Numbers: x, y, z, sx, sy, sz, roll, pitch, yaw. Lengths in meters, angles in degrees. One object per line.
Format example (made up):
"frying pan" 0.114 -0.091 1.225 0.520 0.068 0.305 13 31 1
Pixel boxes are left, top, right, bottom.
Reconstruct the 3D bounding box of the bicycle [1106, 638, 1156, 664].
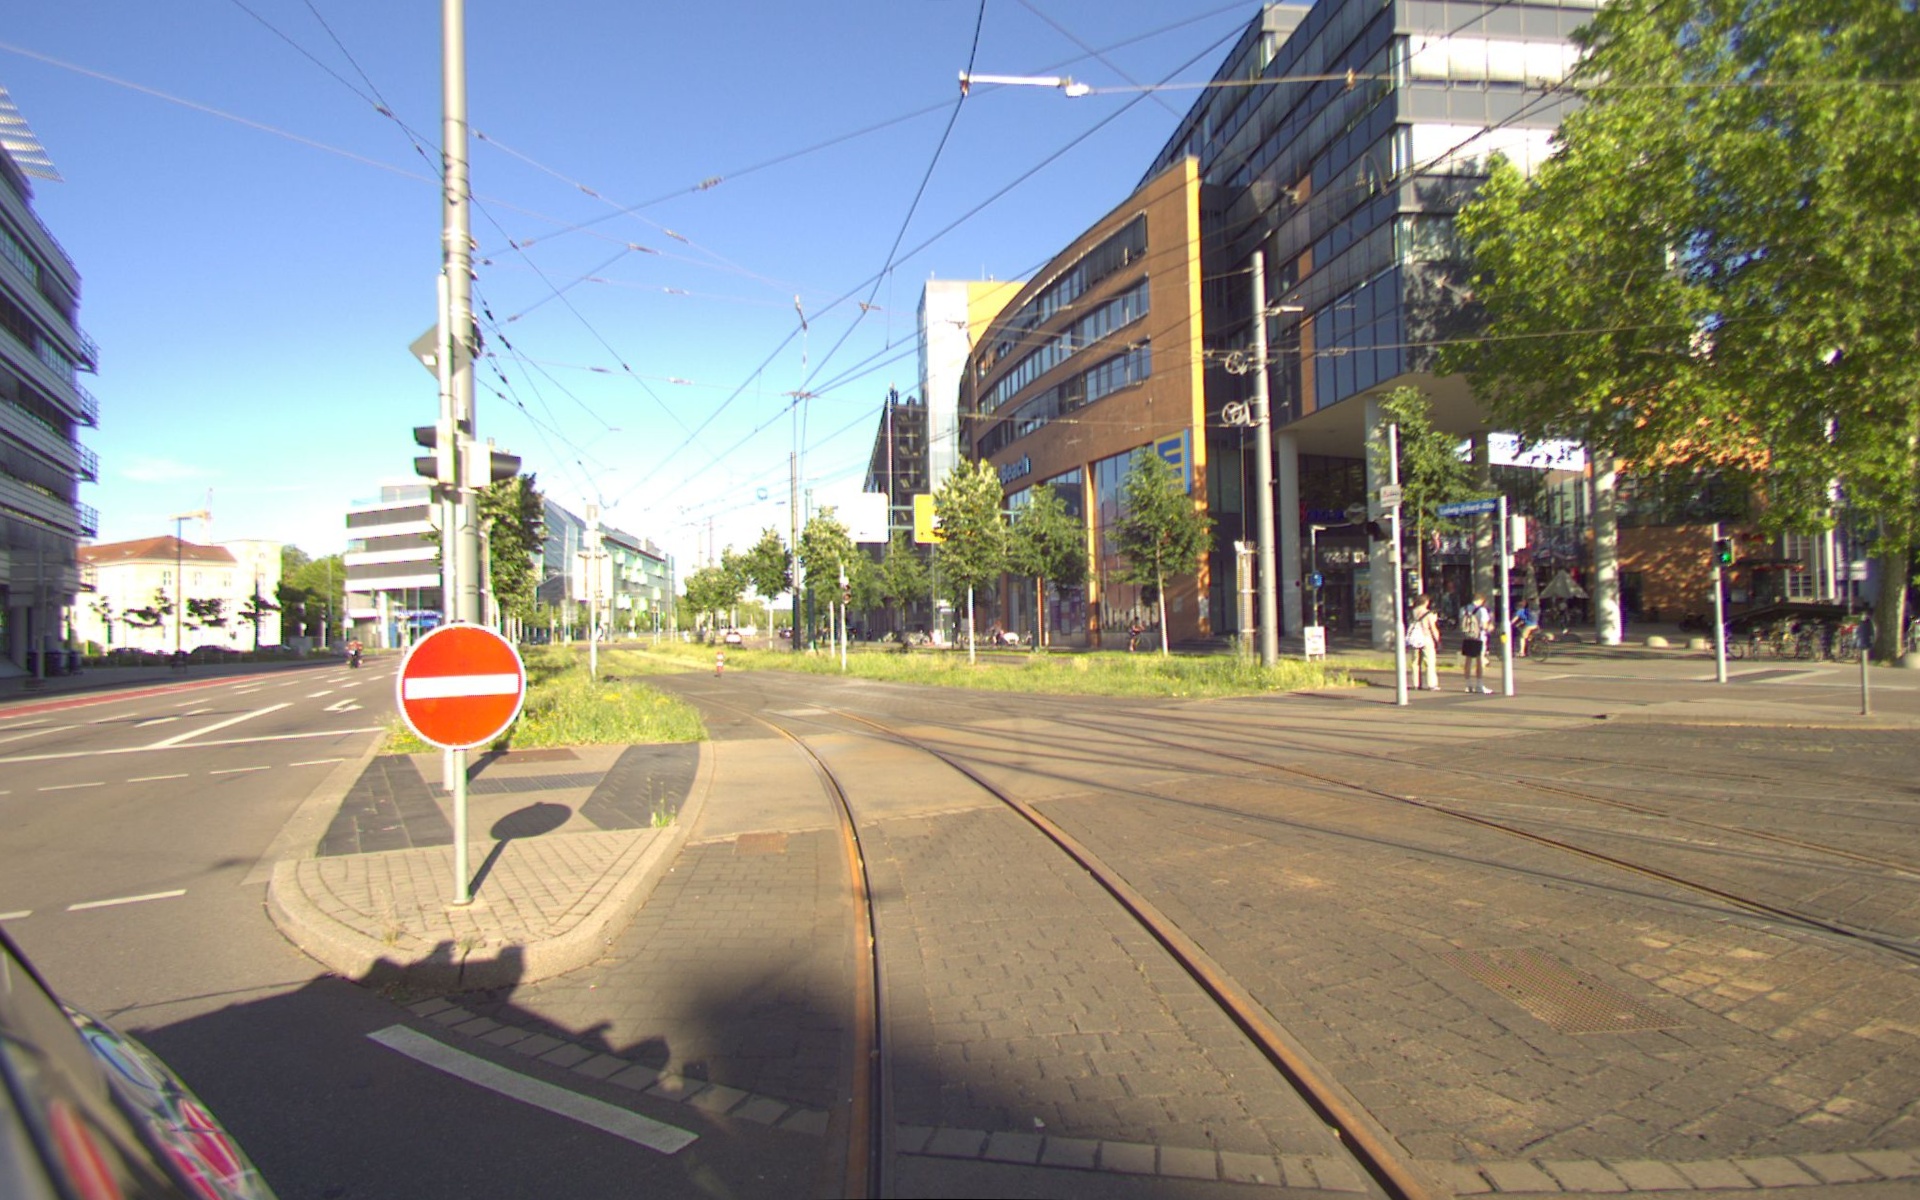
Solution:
"bicycle" 7.801 2.354 46.394 0.880 1.112 2.700 -1 -3 -24

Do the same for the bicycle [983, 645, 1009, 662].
"bicycle" 2.193 3.267 61.933 0.680 0.957 2.073 -1 -2 -25

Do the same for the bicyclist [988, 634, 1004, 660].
"bicyclist" 2.181 2.881 61.919 0.680 1.541 0.705 -1 -2 -25

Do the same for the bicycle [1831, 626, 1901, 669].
"bicycle" 26.328 1.377 29.415 2.326 1.137 0.601 -1 -3 -25

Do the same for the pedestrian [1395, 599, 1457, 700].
"pedestrian" 8.904 0.937 19.350 0.721 1.884 0.701 -1 -2 -25

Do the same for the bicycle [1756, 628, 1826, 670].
"bicycle" 24.360 1.443 29.663 2.326 1.137 0.601 -1 -3 -25

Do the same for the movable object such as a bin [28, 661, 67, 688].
"movable object such as a bin" -47.272 3.859 52.439 1.154 1.311 1.333 -1 -2 -24

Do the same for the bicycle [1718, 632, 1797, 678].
"bicycle" 21.549 1.472 27.337 2.326 1.137 0.601 -1 -3 -24

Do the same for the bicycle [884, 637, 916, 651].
"bicycle" -5.251 3.843 88.675 2.647 1.112 0.898 -2 -3 -14

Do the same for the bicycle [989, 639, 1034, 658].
"bicycle" 3.252 3.061 63.552 2.647 1.112 0.898 -2 -3 -14

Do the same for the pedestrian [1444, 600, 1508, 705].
"pedestrian" 9.476 0.954 18.604 0.721 1.884 0.675 -1 -2 -27

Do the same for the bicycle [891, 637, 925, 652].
"bicycle" -4.370 3.734 85.122 2.647 1.112 0.898 -2 -3 -14

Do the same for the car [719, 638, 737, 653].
"car" -24.303 4.748 106.146 1.601 1.539 4.813 -2 -2 -10

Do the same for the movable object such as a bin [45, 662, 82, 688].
"movable object such as a bin" -47.632 3.961 53.783 1.154 1.311 1.333 -1 -2 -24

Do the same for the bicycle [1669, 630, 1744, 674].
"bicycle" 21.356 1.481 28.939 2.326 1.137 0.601 -1 -3 -24

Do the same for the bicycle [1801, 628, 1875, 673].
"bicycle" 24.287 1.384 27.995 2.326 1.137 0.601 -1 -3 -25

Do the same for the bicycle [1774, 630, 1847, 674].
"bicycle" 24.067 1.464 28.627 2.326 1.137 0.601 -1 -3 -25

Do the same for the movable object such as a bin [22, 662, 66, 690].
"movable object such as a bin" -45.141 3.745 49.903 1.306 1.311 1.178 -1 -2 -24

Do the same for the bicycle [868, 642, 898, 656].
"bicycle" -7.151 4.553 93.997 2.647 1.112 0.898 -2 -3 -14

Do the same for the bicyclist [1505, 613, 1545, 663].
"bicyclist" 17.065 1.152 30.577 0.682 1.472 0.756 -1 -2 -25

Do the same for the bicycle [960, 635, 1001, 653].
"bicycle" 1.434 3.078 70.398 2.647 1.112 0.898 -2 -3 -14

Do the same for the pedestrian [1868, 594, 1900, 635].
"pedestrian" 37.924 0.609 41.551 0.693 1.665 0.701 -1 -2 -27

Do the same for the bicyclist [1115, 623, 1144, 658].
"bicyclist" 7.781 1.844 46.414 0.880 1.560 0.942 -1 -3 -24

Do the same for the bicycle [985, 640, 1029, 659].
"bicycle" 2.993 3.130 64.566 2.647 1.112 0.898 -2 -3 -14

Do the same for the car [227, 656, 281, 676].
"car" -60.675 5.686 87.039 3.762 1.543 1.733 -2 -2 12

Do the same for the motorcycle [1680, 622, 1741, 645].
"motorcycle" 36.801 1.672 49.663 0.818 1.066 2.349 -2 -2 -16

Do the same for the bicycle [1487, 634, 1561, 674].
"bicycle" 17.052 1.617 30.631 0.682 1.145 1.857 -1 -2 -25

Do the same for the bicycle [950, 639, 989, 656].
"bicycle" 0.699 3.508 74.486 2.647 1.112 0.898 -2 -3 -14

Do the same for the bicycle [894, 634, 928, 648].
"bicycle" -4.063 3.374 83.213 2.647 1.112 0.898 -2 -3 -14

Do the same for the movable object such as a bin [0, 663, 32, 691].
"movable object such as a bin" -46.374 3.760 49.374 1.306 1.311 1.178 -1 -2 -24

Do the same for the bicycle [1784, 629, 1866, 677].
"bicycle" 22.255 1.343 26.032 2.326 1.137 0.601 -1 -3 -24

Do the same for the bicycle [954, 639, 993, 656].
"bicycle" 0.978 3.446 73.334 2.647 1.112 0.898 -2 -3 -14

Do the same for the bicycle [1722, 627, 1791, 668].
"bicycle" 24.010 1.422 30.501 2.326 1.137 0.601 -1 -3 -25

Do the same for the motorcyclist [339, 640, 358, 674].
"motorcyclist" -34.035 3.173 56.327 0.807 1.871 1.116 0 -3 -27

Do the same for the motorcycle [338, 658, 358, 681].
"motorcycle" -33.937 3.846 56.131 0.807 1.230 2.262 0 -2 -27

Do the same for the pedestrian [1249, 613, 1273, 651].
"pedestrian" 13.905 1.460 46.712 0.721 1.718 0.701 -1 -2 -25
